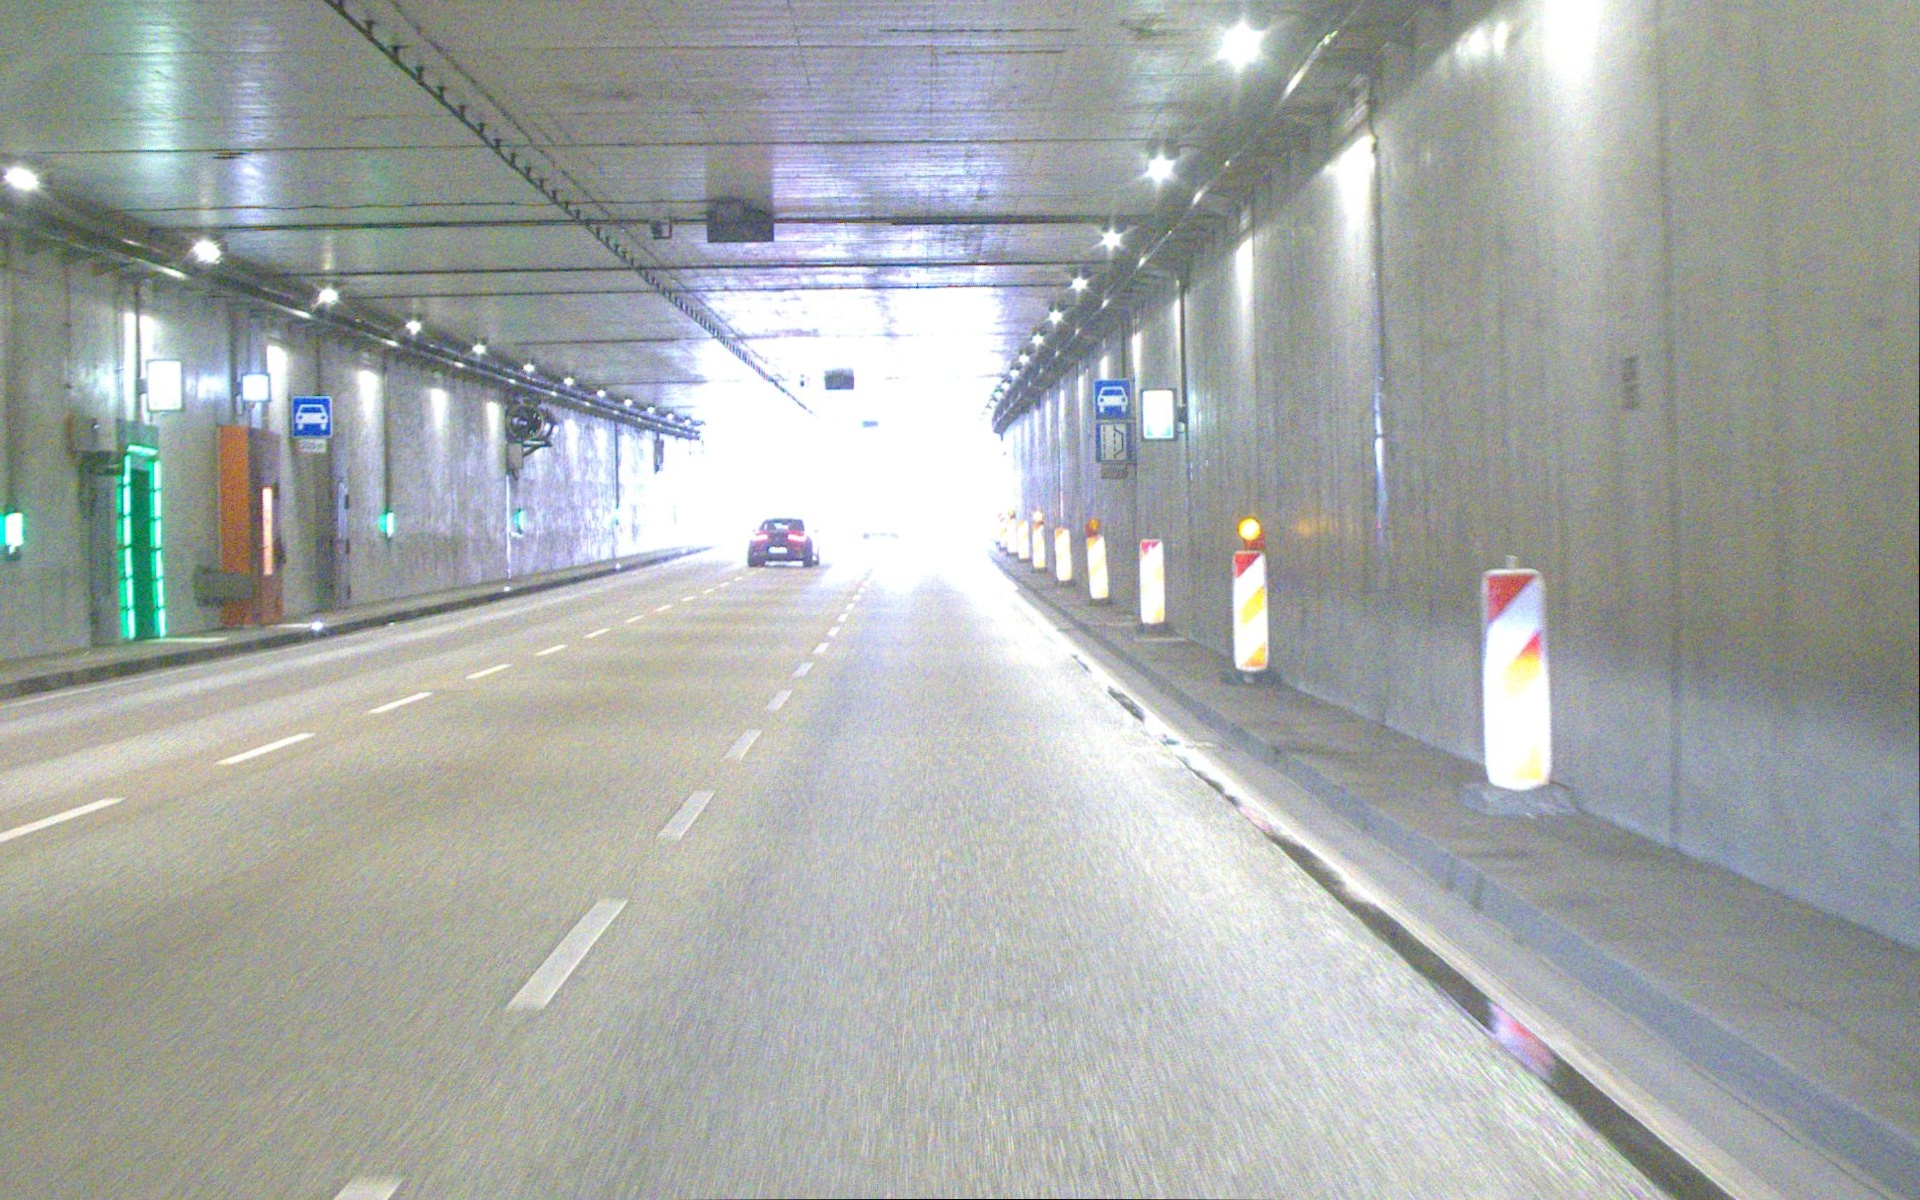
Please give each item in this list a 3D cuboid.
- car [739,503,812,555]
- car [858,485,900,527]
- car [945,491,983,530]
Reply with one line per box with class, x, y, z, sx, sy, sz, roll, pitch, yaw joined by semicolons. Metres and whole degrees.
car;-5.381;-2.064;99.851;1.993;1.443;4.315;1;1;-4
car;-3.995;-4.596;169.373;1.993;2.007;4.000;0;1;0
car;0.179;-4.791;183.964;1.993;2.007;4.000;0;1;0
